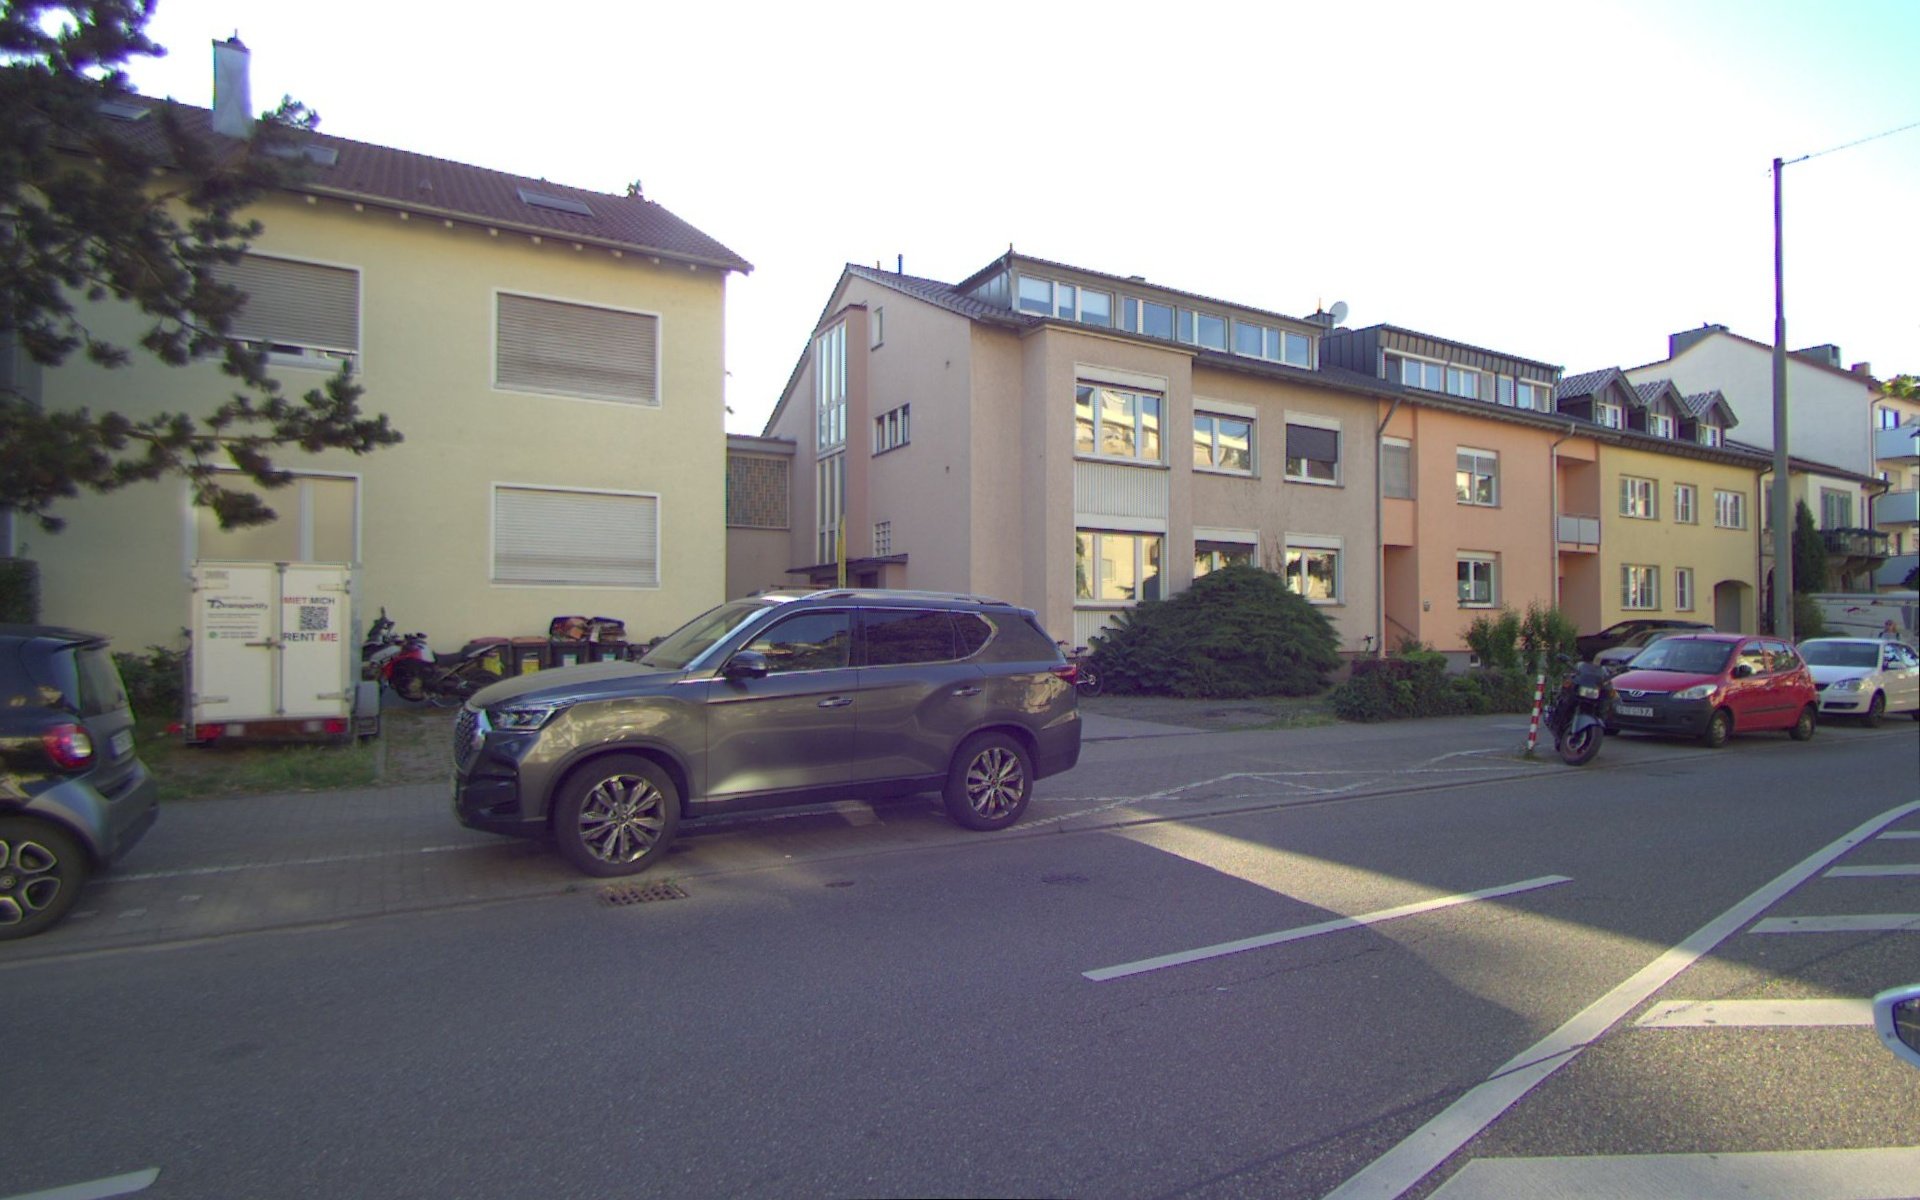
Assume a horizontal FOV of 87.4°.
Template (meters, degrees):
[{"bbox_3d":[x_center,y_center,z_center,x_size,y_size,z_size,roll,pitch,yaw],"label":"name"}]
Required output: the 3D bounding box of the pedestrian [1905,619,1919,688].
[{"bbox_3d":[25.319,1.397,26.270,0.564,1.816,0.711,1,-2,-27],"label":"pedestrian"}]

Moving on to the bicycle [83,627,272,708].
[{"bbox_3d":[-10.890,0.925,14.071,2.022,1.078,0.516,1,-2,-31],"label":"bicycle"}]

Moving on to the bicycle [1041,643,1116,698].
[{"bbox_3d":[2.467,1.445,20.758,1.691,1.100,0.331,1,-2,-31],"label":"bicycle"}]

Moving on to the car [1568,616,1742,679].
[{"bbox_3d":[21.040,1.383,30.575,1.843,1.658,3.970,1,0,-28],"label":"car"}]

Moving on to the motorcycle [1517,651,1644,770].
[{"bbox_3d":[7.744,1.293,12.473,1.164,1.282,2.362,-1,-2,36],"label":"motorcycle"}]

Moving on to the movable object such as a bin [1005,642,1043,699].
[{"bbox_3d":[1.267,1.387,19.861,0.579,1.105,0.486,1,-2,-30],"label":"movable object such as a bin"}]

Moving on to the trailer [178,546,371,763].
[{"bbox_3d":[-7.417,0.559,11.054,1.535,2.040,2.758,1,-2,-32],"label":"trailer"}]

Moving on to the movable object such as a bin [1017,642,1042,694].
[{"bbox_3d":[1.426,1.388,20.697,0.345,1.051,0.433,1,-2,-30],"label":"movable object such as a bin"}]

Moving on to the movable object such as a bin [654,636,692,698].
[{"bbox_3d":[-4.921,1.139,17.228,0.531,1.044,0.478,1,-2,-29],"label":"movable object such as a bin"}]

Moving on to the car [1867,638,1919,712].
[{"bbox_3d":[20.050,1.483,20.315,3.623,1.415,1.536,1,-2,-30],"label":"car"}]

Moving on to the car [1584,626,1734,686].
[{"bbox_3d":[17.893,1.406,25.691,3.706,1.427,1.658,1,-3,-29],"label":"car"}]

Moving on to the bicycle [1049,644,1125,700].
[{"bbox_3d":[2.592,1.446,20.406,1.691,1.100,0.331,1,-2,-31],"label":"bicycle"}]

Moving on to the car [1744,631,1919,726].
[{"bbox_3d":[15.908,1.338,18.073,3.847,1.543,1.585,1,-2,-31],"label":"car"}]

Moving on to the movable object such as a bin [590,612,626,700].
[{"bbox_3d":[-5.825,0.921,16.631,0.480,1.420,0.478,1,-1,-29],"label":"movable object such as a bin"}]

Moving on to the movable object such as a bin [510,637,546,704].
[{"bbox_3d":[-6.885,1.109,16.003,0.480,1.044,0.478,1,-2,-29],"label":"movable object such as a bin"}]

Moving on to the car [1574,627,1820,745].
[{"bbox_3d":[10.807,1.177,14.719,3.392,1.543,1.587,1,-2,-27],"label":"car"}]

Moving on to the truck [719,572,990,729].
[{"bbox_3d":[-2.191,0.818,17.771,2.249,2.214,6.864,1,-2,-29],"label":"truck"}]

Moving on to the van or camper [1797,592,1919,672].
[{"bbox_3d":[34.999,1.159,36.409,2.324,2.810,6.764,1,0,-30],"label":"van or camper"}]

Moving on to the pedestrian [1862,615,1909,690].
[{"bbox_3d":[22.594,1.272,24.527,0.499,1.816,0.711,1,-2,-27],"label":"pedestrian"}]

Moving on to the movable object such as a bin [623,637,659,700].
[{"bbox_3d":[-5.376,1.145,16.919,0.480,1.044,0.478,1,-2,-29],"label":"movable object such as a bin"}]

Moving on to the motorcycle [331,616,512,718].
[{"bbox_3d":[-7.713,0.937,14.471,2.232,1.392,0.568,1,-2,-31],"label":"motorcycle"}]

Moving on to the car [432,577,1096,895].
[{"bbox_3d":[-1.363,0.834,7.732,4.673,1.802,1.877,1,-2,-32],"label":"car"}]

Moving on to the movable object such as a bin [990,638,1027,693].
[{"bbox_3d":[0.989,1.322,20.444,0.579,1.105,0.486,1,-2,-30],"label":"movable object such as a bin"}]

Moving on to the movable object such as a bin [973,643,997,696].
[{"bbox_3d":[0.510,1.415,20.492,0.285,1.051,0.501,1,-2,-30],"label":"movable object such as a bin"}]

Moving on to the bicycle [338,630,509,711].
[{"bbox_3d":[-8.071,1.032,15.199,2.232,1.156,0.568,1,-1,-31],"label":"bicycle"}]

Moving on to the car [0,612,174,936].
[{"bbox_3d":[-5.849,0.847,5.098,2.718,1.576,1.565,1,-2,-31],"label":"car"}]

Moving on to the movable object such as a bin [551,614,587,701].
[{"bbox_3d":[-6.356,0.921,16.321,0.480,1.376,0.478,1,-1,-29],"label":"movable object such as a bin"}]
